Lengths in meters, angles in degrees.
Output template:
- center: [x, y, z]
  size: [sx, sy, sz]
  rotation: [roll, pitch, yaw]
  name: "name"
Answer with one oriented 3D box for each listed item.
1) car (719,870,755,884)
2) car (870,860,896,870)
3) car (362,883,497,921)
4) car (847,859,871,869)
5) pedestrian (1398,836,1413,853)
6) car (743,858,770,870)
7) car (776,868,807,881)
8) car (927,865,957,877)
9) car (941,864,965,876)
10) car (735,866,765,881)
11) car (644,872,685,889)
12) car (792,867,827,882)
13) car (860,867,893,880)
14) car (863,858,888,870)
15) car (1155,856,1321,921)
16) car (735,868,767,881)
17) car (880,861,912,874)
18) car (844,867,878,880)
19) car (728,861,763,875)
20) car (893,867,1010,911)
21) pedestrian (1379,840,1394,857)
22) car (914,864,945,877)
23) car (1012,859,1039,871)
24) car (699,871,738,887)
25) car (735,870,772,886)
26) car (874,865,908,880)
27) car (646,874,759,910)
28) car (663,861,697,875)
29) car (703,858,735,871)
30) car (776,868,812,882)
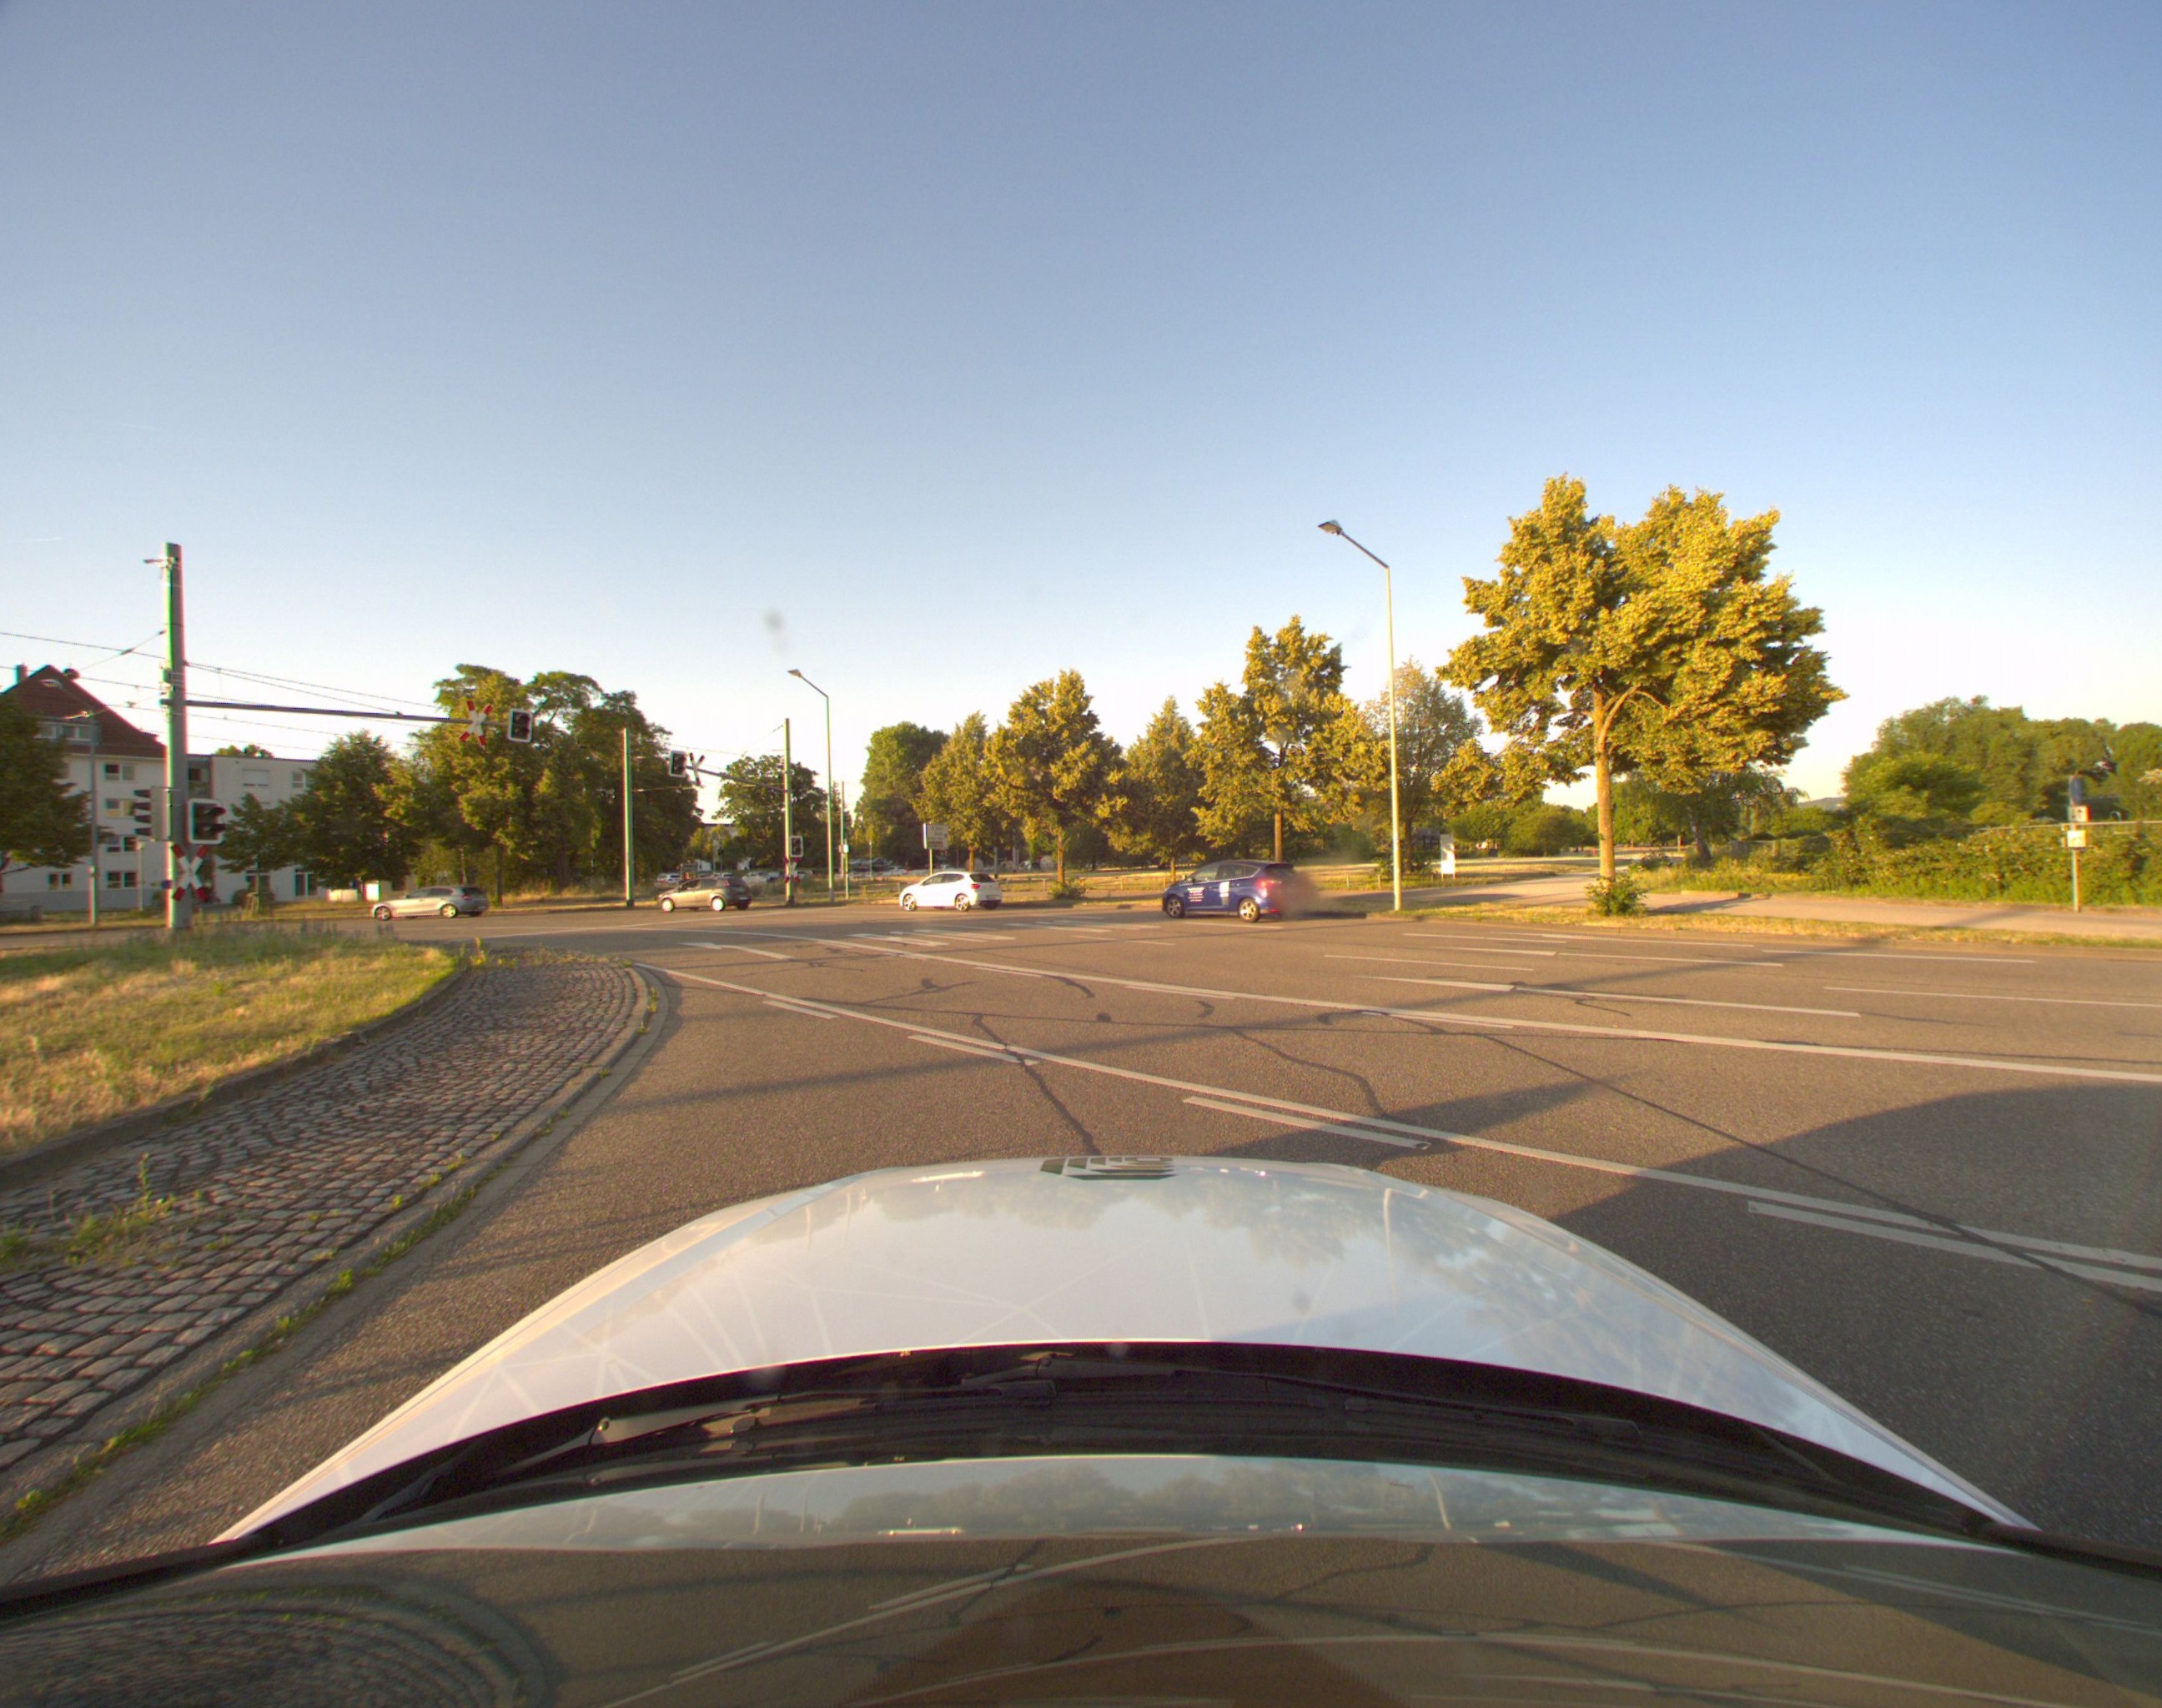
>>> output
- center: [-46.035, 3.036, 109.115]
  size: [1.878, 1.662, 4.026]
  rotation: [-2, 0, 37]
  name: "car"
- center: [-35.581, 1.916, 146.401]
  size: [3.964, 1.706, 2.005]
  rotation: [-2, 0, 8]
  name: "car"
- center: [-27.892, 2.026, 34.993]
  size: [4.144, 1.390, 1.864]
  rotation: [-2, 0, -6]
  name: "car"
- center: [-41.641, 1.916, 152.990]
  size: [1.974, 1.816, 4.026]
  rotation: [-2, 0, 37]
  name: "car"
- center: [31.206, -0.899, 78.277]
  size: [1.064, 1.617, 0.911]
  rotation: [-2, 0, 4]
  name: "pedestrian"
- center: [-57.736, 1.833, 144.913]
  size: [1.974, 2.013, 4.143]
  rotation: [-2, 0, 36]
  name: "car"
- center: [-41.217, 2.905, 115.963]
  size: [4.001, 1.662, 1.889]
  rotation: [-2, 0, -20]
  name: "car"
- center: [-19.909, 2.393, 116.435]
  size: [3.948, 1.604, 2.013]
  rotation: [-2, 0, 34]
  name: "car"
- center: [-20.330, 2.552, 129.334]
  size: [2.008, 1.752, 4.549]
  rotation: [-1, 1, -35]
  name: "car"
- center: [-48.249, 2.806, 118.625]
  size: [4.006, 2.013, 1.984]
  rotation: [-2, 0, -24]
  name: "car"
- center: [-42.591, 2.693, 83.293]
  size: [3.948, 1.604, 2.013]
  rotation: [-2, 0, 34]
  name: "car"
- center: [-32.564, 2.477, 97.572]
  size: [3.948, 1.604, 2.013]
  rotation: [-2, 0, 34]
  name: "car"
- center: [-26.595, 2.503, 105.945]
  size: [3.948, 1.604, 2.013]
  rotation: [-2, 0, 34]
  name: "car"
- center: [-37.855, 1.806, 150.009]
  size: [1.975, 2.013, 4.024]
  rotation: [-2, 0, 42]
  name: "car"
- center: [4.167, 0.884, 22.177]
  size: [1.926, 1.583, 4.131]
  rotation: [0, -1, -41]
  name: "car"
- center: [-46.147, 2.806, 113.915]
  size: [4.005, 1.662, 1.984]
  rotation: [-2, 0, -24]
  name: "car"
- center: [-28.784, 2.088, 126.727]
  size: [4.578, 2.013, 1.995]
  rotation: [-2, 0, -7]
  name: "car"
- center: [-28.053, 2.496, 103.863]
  size: [3.948, 1.604, 2.013]
  rotation: [-2, 0, 34]
  name: "car"
- center: [-51.793, 2.147, 125.778]
  size: [1.974, 2.013, 4.627]
  rotation: [-2, 0, 32]
  name: "car"
- center: [-4.764, 1.270, 29.866]
  size: [3.920, 1.454, 1.880]
  rotation: [-2, 0, 32]
  name: "car"
- center: [29.656, -0.574, 79.068]
  size: [1.064, 1.617, 0.911]
  rotation: [-2, 0, 4]
  name: "pedestrian"
- center: [-21.385, 2.336, 114.742]
  size: [3.948, 1.604, 2.013]
  rotation: [-2, 0, 34]
  name: "car"
- center: [-7.873, 1.544, 115.209]
  size: [1.748, 1.618, 3.954]
  rotation: [-1, 0, -39]
  name: "car"
- center: [-38.957, 2.701, 87.508]
  size: [3.948, 1.604, 2.013]
  rotation: [-2, 0, 34]
  name: "car"
- center: [-36.984, 2.724, 92.026]
  size: [3.948, 1.604, 2.013]
  rotation: [-2, 0, 34]
  name: "car"
- center: [-27.567, 2.706, 118.471]
  size: [4.578, 2.013, 1.995]
  rotation: [-2, 0, -7]
  name: "car"
- center: [-16.075, 1.612, 34.617]
  size: [4.117, 1.454, 1.875]
  rotation: [-1, -2, 16]
  name: "car"
- center: [-65.569, 2.260, 133.308]
  size: [1.974, 2.013, 4.627]
  rotation: [-2, 0, 32]
  name: "car"
- center: [-61.827, 1.816, 139.045]
  size: [1.974, 2.013, 4.628]
  rotation: [-2, 0, 36]
  name: "car"
- center: [-33.609, 2.466, 95.424]
  size: [3.948, 1.604, 2.013]
  rotation: [-2, 0, 34]
  name: "car"
